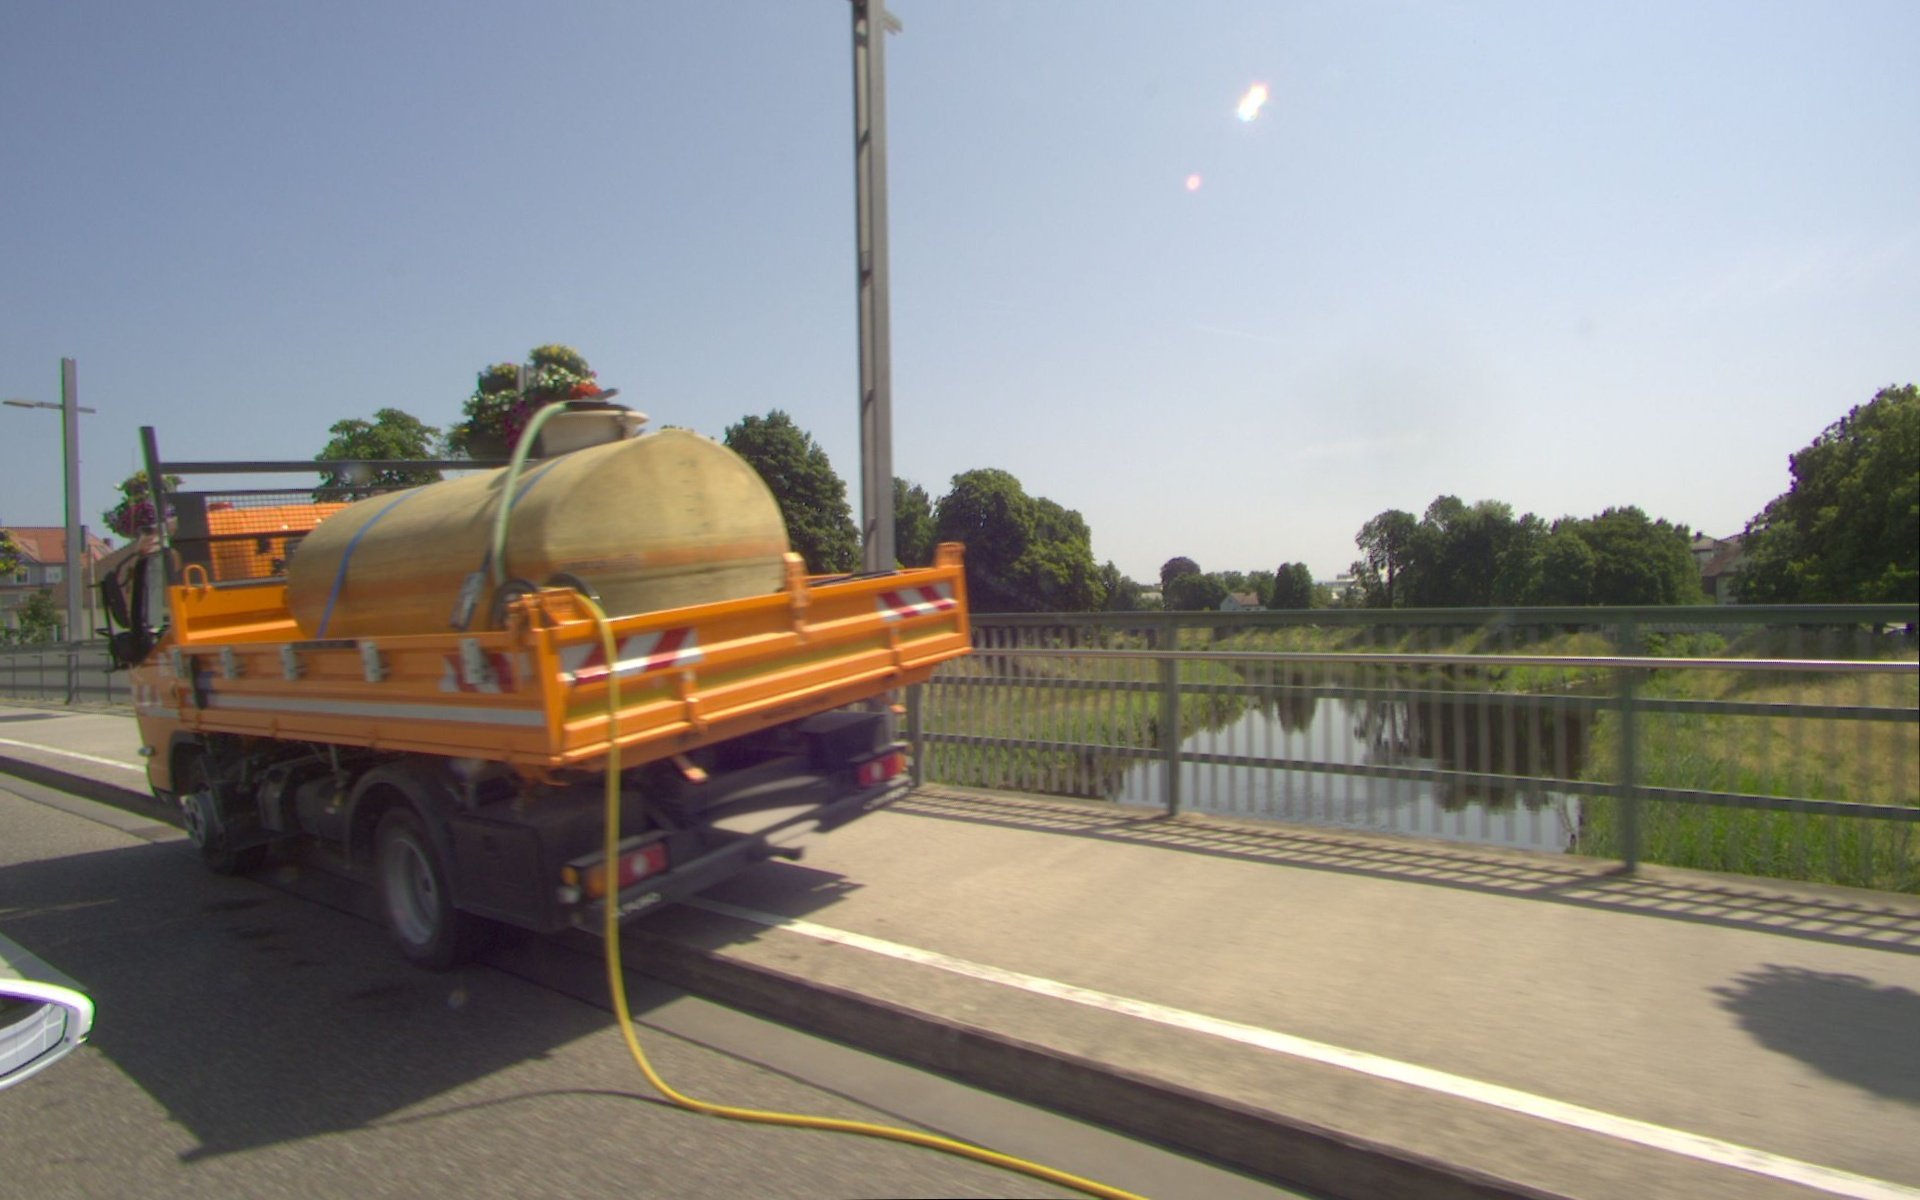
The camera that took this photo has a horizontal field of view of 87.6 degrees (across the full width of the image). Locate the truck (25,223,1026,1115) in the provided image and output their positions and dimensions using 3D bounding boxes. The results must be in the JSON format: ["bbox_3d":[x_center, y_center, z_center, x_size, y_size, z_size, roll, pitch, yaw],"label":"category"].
[{"bbox_3d":[-2.796,0.185,5.799,5.748,2.729,2.594,-1,5,37],"label":"truck"}]
